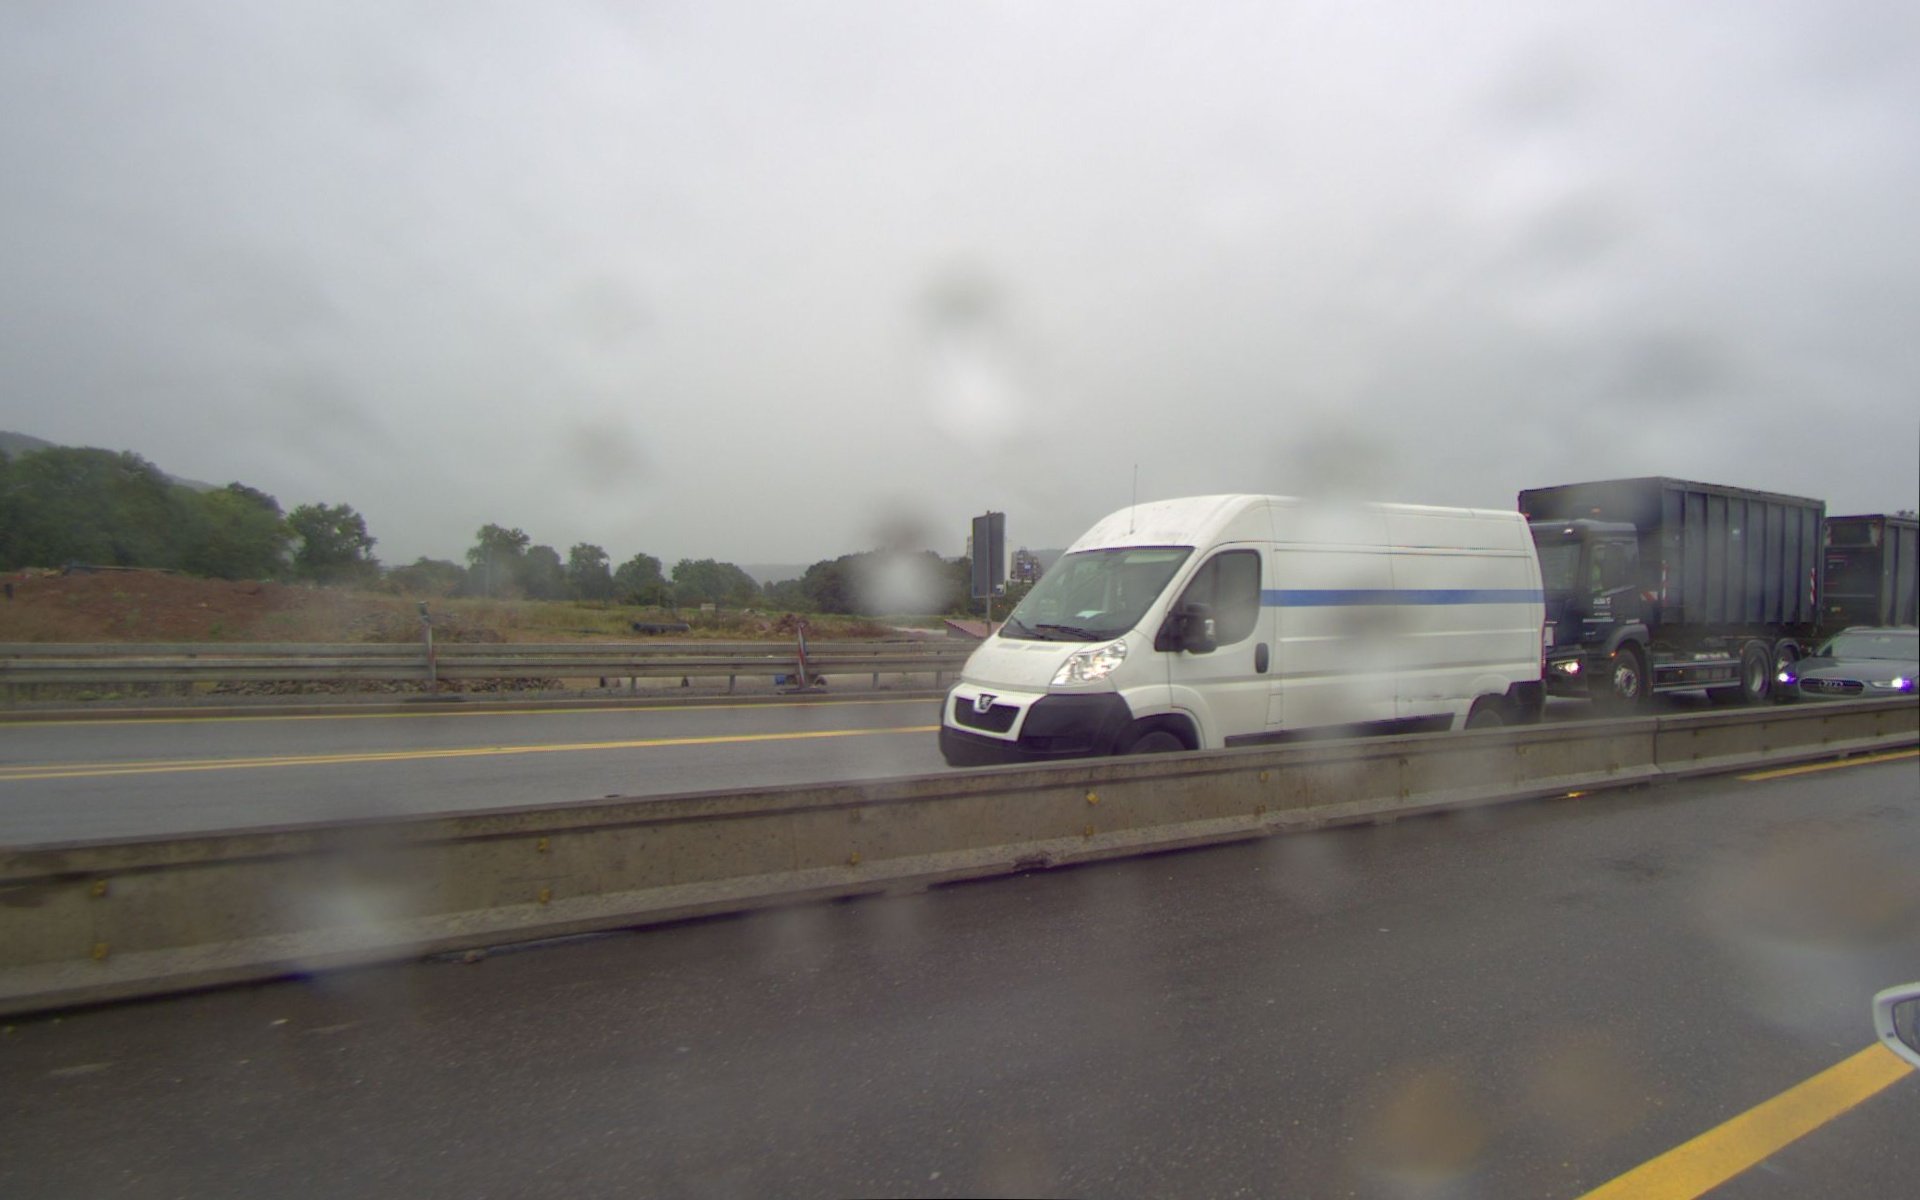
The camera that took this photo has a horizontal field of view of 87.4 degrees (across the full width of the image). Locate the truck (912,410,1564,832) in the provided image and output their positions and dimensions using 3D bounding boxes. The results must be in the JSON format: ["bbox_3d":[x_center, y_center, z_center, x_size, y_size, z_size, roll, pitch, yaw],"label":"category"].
[{"bbox_3d":[2.706,0.215,9.028,5.947,2.749,2.136,2,-1,-31],"label":"truck"}]

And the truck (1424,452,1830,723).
[{"bbox_3d":[12.490,-0.118,18.418,9.109,4.023,2.627,1,0,-32],"label":"truck"}]

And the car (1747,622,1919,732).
[{"bbox_3d":[14.617,1.133,15.948,4.618,1.491,1.859,1,-1,-32],"label":"car"}]

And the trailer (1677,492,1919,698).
[{"bbox_3d":[20.467,-0.027,23.333,9.565,4.023,2.731,1,0,-32],"label":"trailer"}]
